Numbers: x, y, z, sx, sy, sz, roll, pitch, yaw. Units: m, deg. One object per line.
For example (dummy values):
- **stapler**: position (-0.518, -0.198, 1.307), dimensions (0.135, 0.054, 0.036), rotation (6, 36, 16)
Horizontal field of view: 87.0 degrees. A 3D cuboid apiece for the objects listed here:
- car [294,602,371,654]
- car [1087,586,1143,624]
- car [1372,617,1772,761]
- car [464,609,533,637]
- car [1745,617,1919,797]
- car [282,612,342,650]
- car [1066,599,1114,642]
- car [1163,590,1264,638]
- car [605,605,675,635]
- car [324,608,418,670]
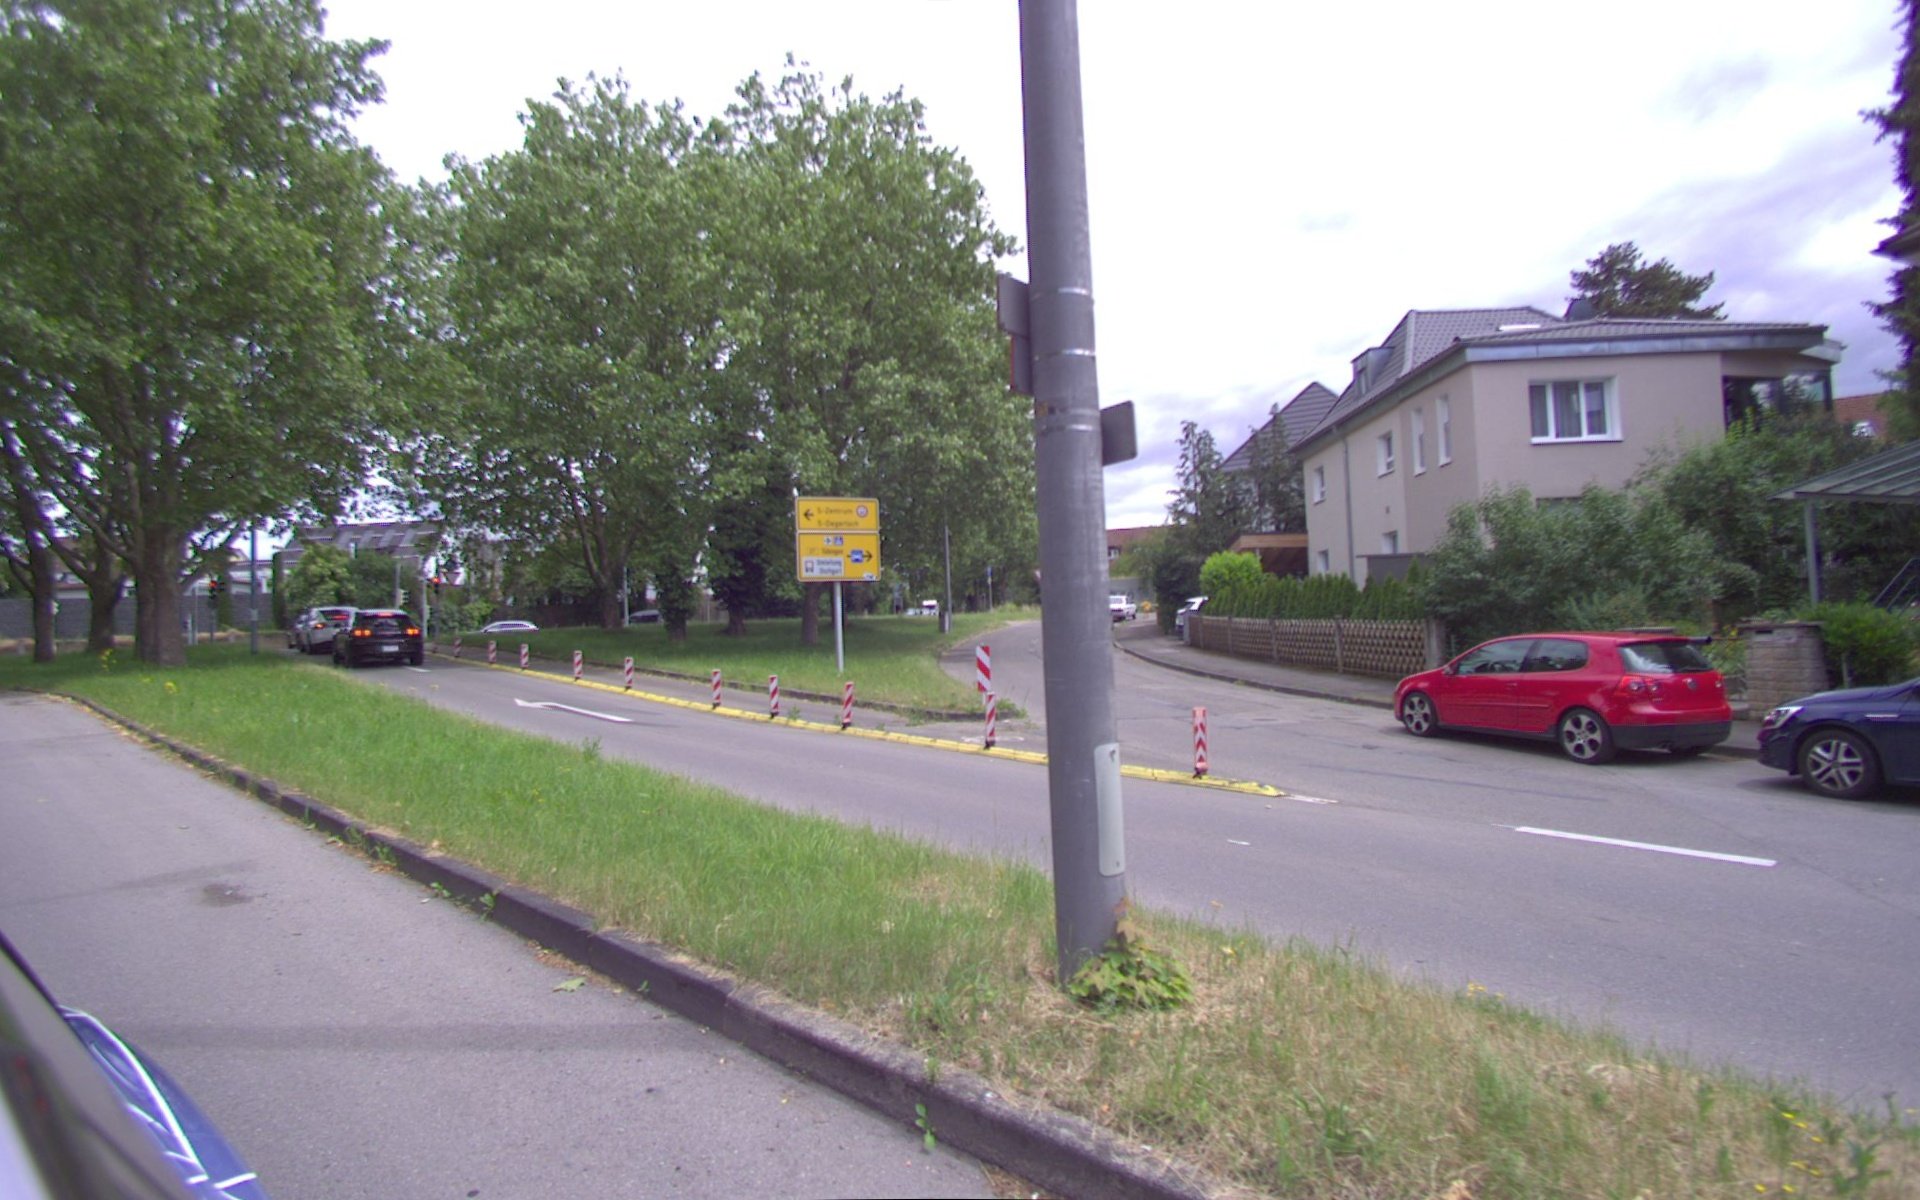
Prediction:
- **car**: position (-23.312, 1.076, 37.504), dimensions (1.828, 1.671, 4.915), rotation (-1, -3, -39)
- **car**: position (8.922, 0.254, 57.914), dimensions (2.200, 1.804, 4.852), rotation (-4, 1, 20)
- **car**: position (7.483, 0.997, 12.969), dimensions (1.703, 1.485, 4.291), rotation (-1, -1, -17)
- **car**: position (-27.621, 1.381, 60.694), dimensions (3.584, 1.542, 1.655), rotation (-1, -3, -18)
- **car**: position (9.121, 0.870, 7.963), dimensions (1.703, 1.485, 4.329), rotation (-1, -1, -22)
- **car**: position (-28.213, 1.337, 44.023), dimensions (1.734, 1.529, 4.395), rotation (-1, -1, -38)
- **car**: position (5.470, 0.847, 42.899), dimensions (1.761, 1.566, 3.773), rotation (-4, 1, 6)
- **car**: position (9.428, 0.538, 37.867), dimensions (3.340, 1.559, 1.871), rotation (-3, -3, 8)
- **car**: position (-17.644, 1.139, 55.880), dimensions (3.584, 1.536, 1.655), rotation (1, -4, -18)
- **car**: position (-17.460, 1.078, 29.893), dimensions (1.734, 1.603, 4.622), rotation (-1, 1, -39)
